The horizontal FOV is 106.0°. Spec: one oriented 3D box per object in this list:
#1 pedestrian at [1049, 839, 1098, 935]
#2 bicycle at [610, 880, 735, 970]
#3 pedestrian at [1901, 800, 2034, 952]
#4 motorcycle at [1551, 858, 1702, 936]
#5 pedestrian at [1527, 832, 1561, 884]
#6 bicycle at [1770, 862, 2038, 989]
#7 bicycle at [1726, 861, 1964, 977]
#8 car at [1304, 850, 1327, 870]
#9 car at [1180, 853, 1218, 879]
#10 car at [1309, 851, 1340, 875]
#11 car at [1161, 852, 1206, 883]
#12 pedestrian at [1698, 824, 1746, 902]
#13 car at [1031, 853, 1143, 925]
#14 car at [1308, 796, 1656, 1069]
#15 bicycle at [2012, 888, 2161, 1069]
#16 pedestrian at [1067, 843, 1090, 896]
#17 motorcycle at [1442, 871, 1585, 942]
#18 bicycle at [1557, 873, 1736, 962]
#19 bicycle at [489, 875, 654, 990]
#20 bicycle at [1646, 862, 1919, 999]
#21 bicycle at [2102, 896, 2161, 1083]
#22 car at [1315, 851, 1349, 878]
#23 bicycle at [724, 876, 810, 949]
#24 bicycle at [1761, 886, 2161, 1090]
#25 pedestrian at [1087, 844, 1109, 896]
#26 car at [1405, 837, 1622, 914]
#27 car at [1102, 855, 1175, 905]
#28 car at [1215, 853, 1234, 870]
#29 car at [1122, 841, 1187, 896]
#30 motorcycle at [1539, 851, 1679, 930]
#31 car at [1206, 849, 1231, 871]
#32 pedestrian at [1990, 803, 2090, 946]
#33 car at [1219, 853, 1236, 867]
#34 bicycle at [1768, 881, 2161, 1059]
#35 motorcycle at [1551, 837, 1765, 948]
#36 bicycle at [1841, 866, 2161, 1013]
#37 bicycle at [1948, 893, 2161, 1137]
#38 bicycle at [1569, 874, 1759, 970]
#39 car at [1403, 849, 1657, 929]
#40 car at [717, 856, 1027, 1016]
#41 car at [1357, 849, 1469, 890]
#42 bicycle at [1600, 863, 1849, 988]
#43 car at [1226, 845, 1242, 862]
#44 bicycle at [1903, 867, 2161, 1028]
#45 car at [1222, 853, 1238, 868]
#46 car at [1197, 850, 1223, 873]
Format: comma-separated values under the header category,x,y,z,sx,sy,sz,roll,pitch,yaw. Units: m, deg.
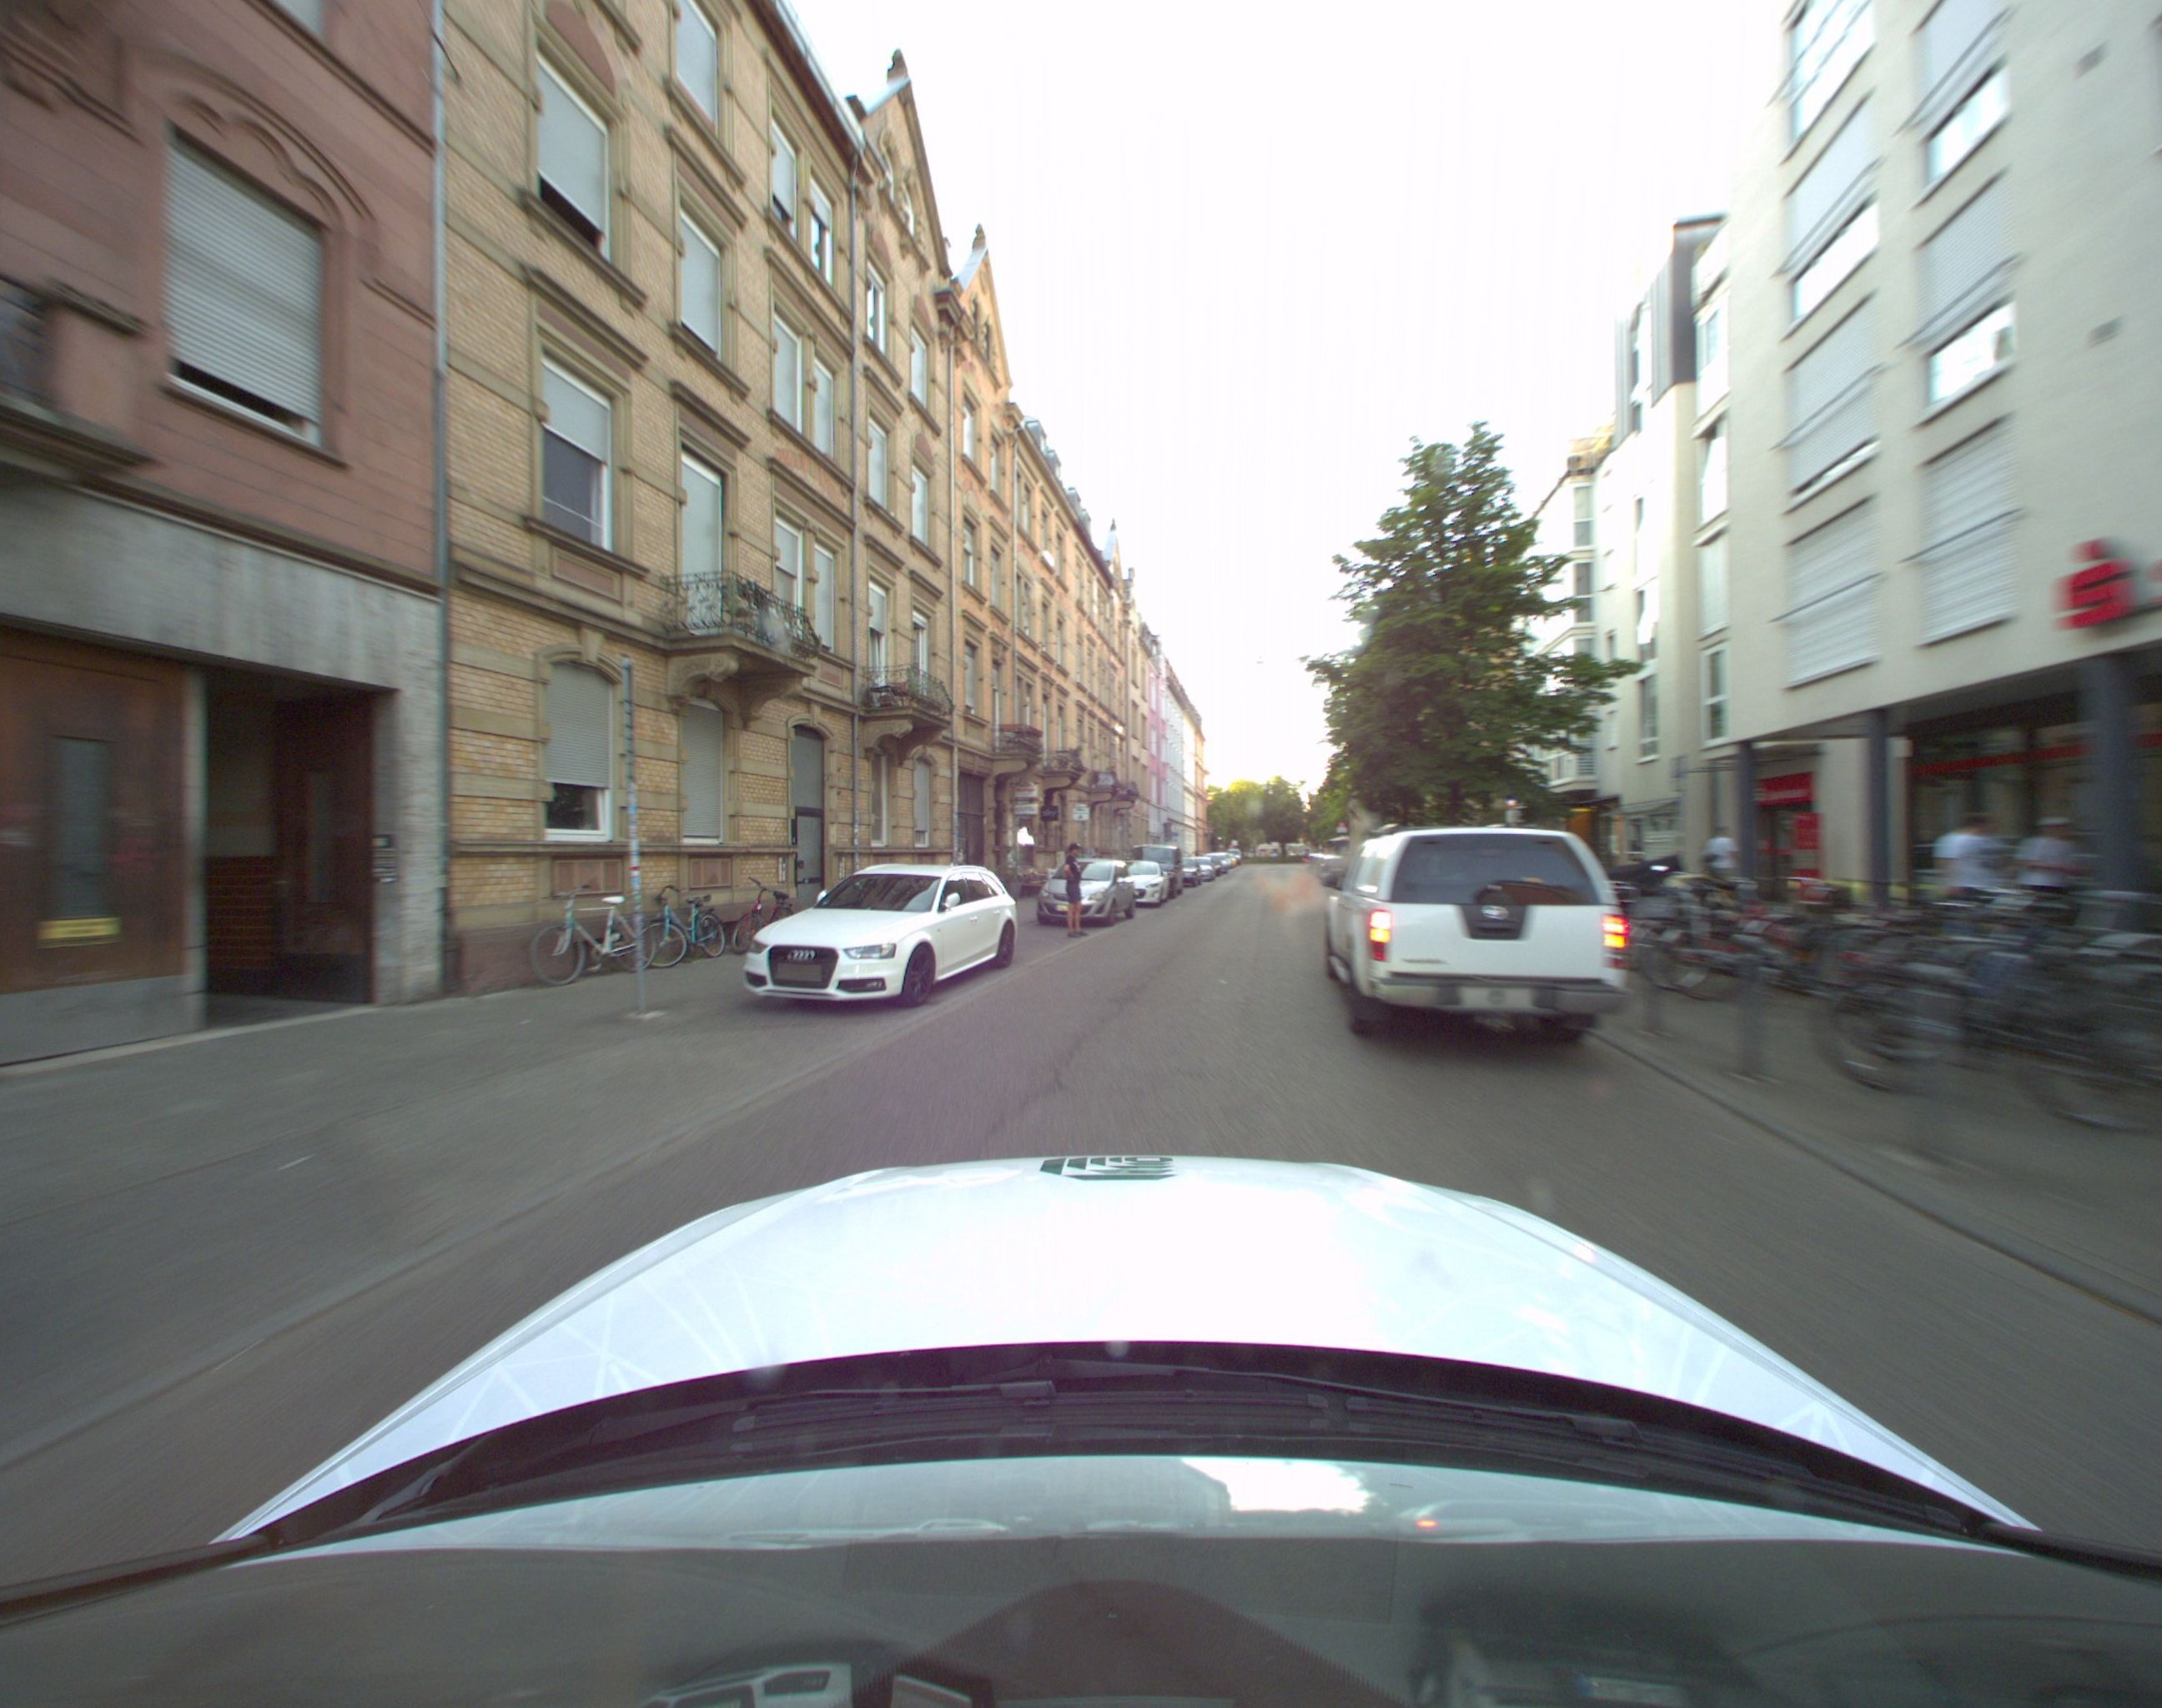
category,x,y,z,sx,sy,sz,roll,pitch,yaw
pedestrian,-0.131,0.608,15.513,0.549,1.755,1.028,0,-1,24
bicycle,-5.336,0.887,10.739,0.561,1.036,1.630,0,0,13
pedestrian,10.712,0.242,9.851,0.778,1.723,0.904,-3,1,-30
motorcycle,9.567,0.754,14.366,2.042,1.243,0.720,-3,0,14
pedestrian,16.099,0.141,28.324,0.722,1.716,0.967,-3,-1,13
bicycle,7.837,0.674,7.833,1.712,1.118,0.655,-3,-1,10
bicycle,7.951,0.666,8.550,1.712,1.118,0.655,-3,-1,10
car,18.988,0.446,66.072,1.664,1.501,3.916,-4,-1,15
car,7.232,0.708,49.668,1.821,1.458,4.222,2,0,13
car,16.713,0.592,56.093,1.665,1.456,4.244,-4,-1,12
car,5.181,0.650,40.770,1.725,1.418,4.795,1,0,13
pedestrian,14.677,0.197,18.652,0.623,1.753,0.588,0,-1,2
car,0.262,0.741,19.257,1.704,1.457,4.016,1,1,14
car,3.497,0.558,8.301,1.898,1.853,5.287,-1,0,12
bicycle,7.204,0.749,5.084,1.709,1.054,0.656,-3,-1,16
pedestrian,-0.074,0.523,28.202,0.576,1.771,1.000,2,1,9
motorcycle,7.273,0.868,13.750,2.052,1.078,0.663,-2,-1,-3
bicycle,7.303,0.827,10.595,1.759,1.022,0.567,-5,-2,16
bicycle,-5.741,0.832,9.303,0.512,1.132,1.736,0,0,13
bicycle,6.623,0.737,7.832,1.772,1.182,0.738,-5,-2,23
bicycle,7.015,0.752,4.436,1.709,1.054,0.656,-3,-1,16
car,15.283,0.618,49.789,1.664,1.429,4.495,-5,-1,14
bicycle,-4.889,0.881,12.781,0.589,1.027,1.627,0,0,6
bicycle,5.451,0.800,5.059,1.711,1.118,0.709,-3,-1,11
pedestrian,0.585,0.542,28.476,0.601,1.772,0.779,2,1,9
car,10.494,0.521,20.088,4.368,1.647,1.752,-3,-1,12
car,1.964,0.785,26.531,1.772,1.422,4.499,2,0,11
car,14.342,0.685,81.177,1.687,1.621,4.036,1,0,13
car,2.955,0.518,31.660,1.980,1.923,4.966,1,0,11
motorcycle,9.911,0.678,15.358,2.045,1.369,0.719,-3,0,9
car,11.005,0.473,64.982,1.833,1.659,4.265,-1,0,10
pedestrian,12.008,0.241,10.218,0.656,1.723,0.667,-1,1,36
car,15.654,0.625,86.943,1.688,1.426,4.034,1,0,11
bicycle,6.109,0.793,5.722,1.797,1.118,0.709,-3,-1,11
motorcycle,8.753,0.590,12.485,2.473,1.549,0.827,-3,-2,16
bicycle,7.598,0.696,6.774,1.709,1.118,0.656,-3,-1,16
bicycle,5.740,0.772,4.108,1.709,1.118,0.710,-3,-1,16
bicycle,7.100,0.830,10.006,1.706,1.031,0.670,-5,-2,16
car,9.456,0.721,17.479,4.399,1.455,1.783,-3,0,7
car,-2.161,0.765,9.932,1.746,1.412,4.525,0,1,13
car,13.602,0.627,33.609,4.056,1.452,1.890,-3,-1,15
bicycle,6.752,0.750,8.670,1.854,1.182,0.746,-5,-2,18
car,18.899,-0.073,100.705,1.800,1.977,4.197,1,0,9
bicycle,7.570,0.695,6.193,1.709,1.118,0.656,-3,-1,16
car,16.954,0.711,92.751,1.688,1.552,4.034,1,0,11
car,9.416,0.538,59.150,1.625,1.565,3.794,0,0,12
